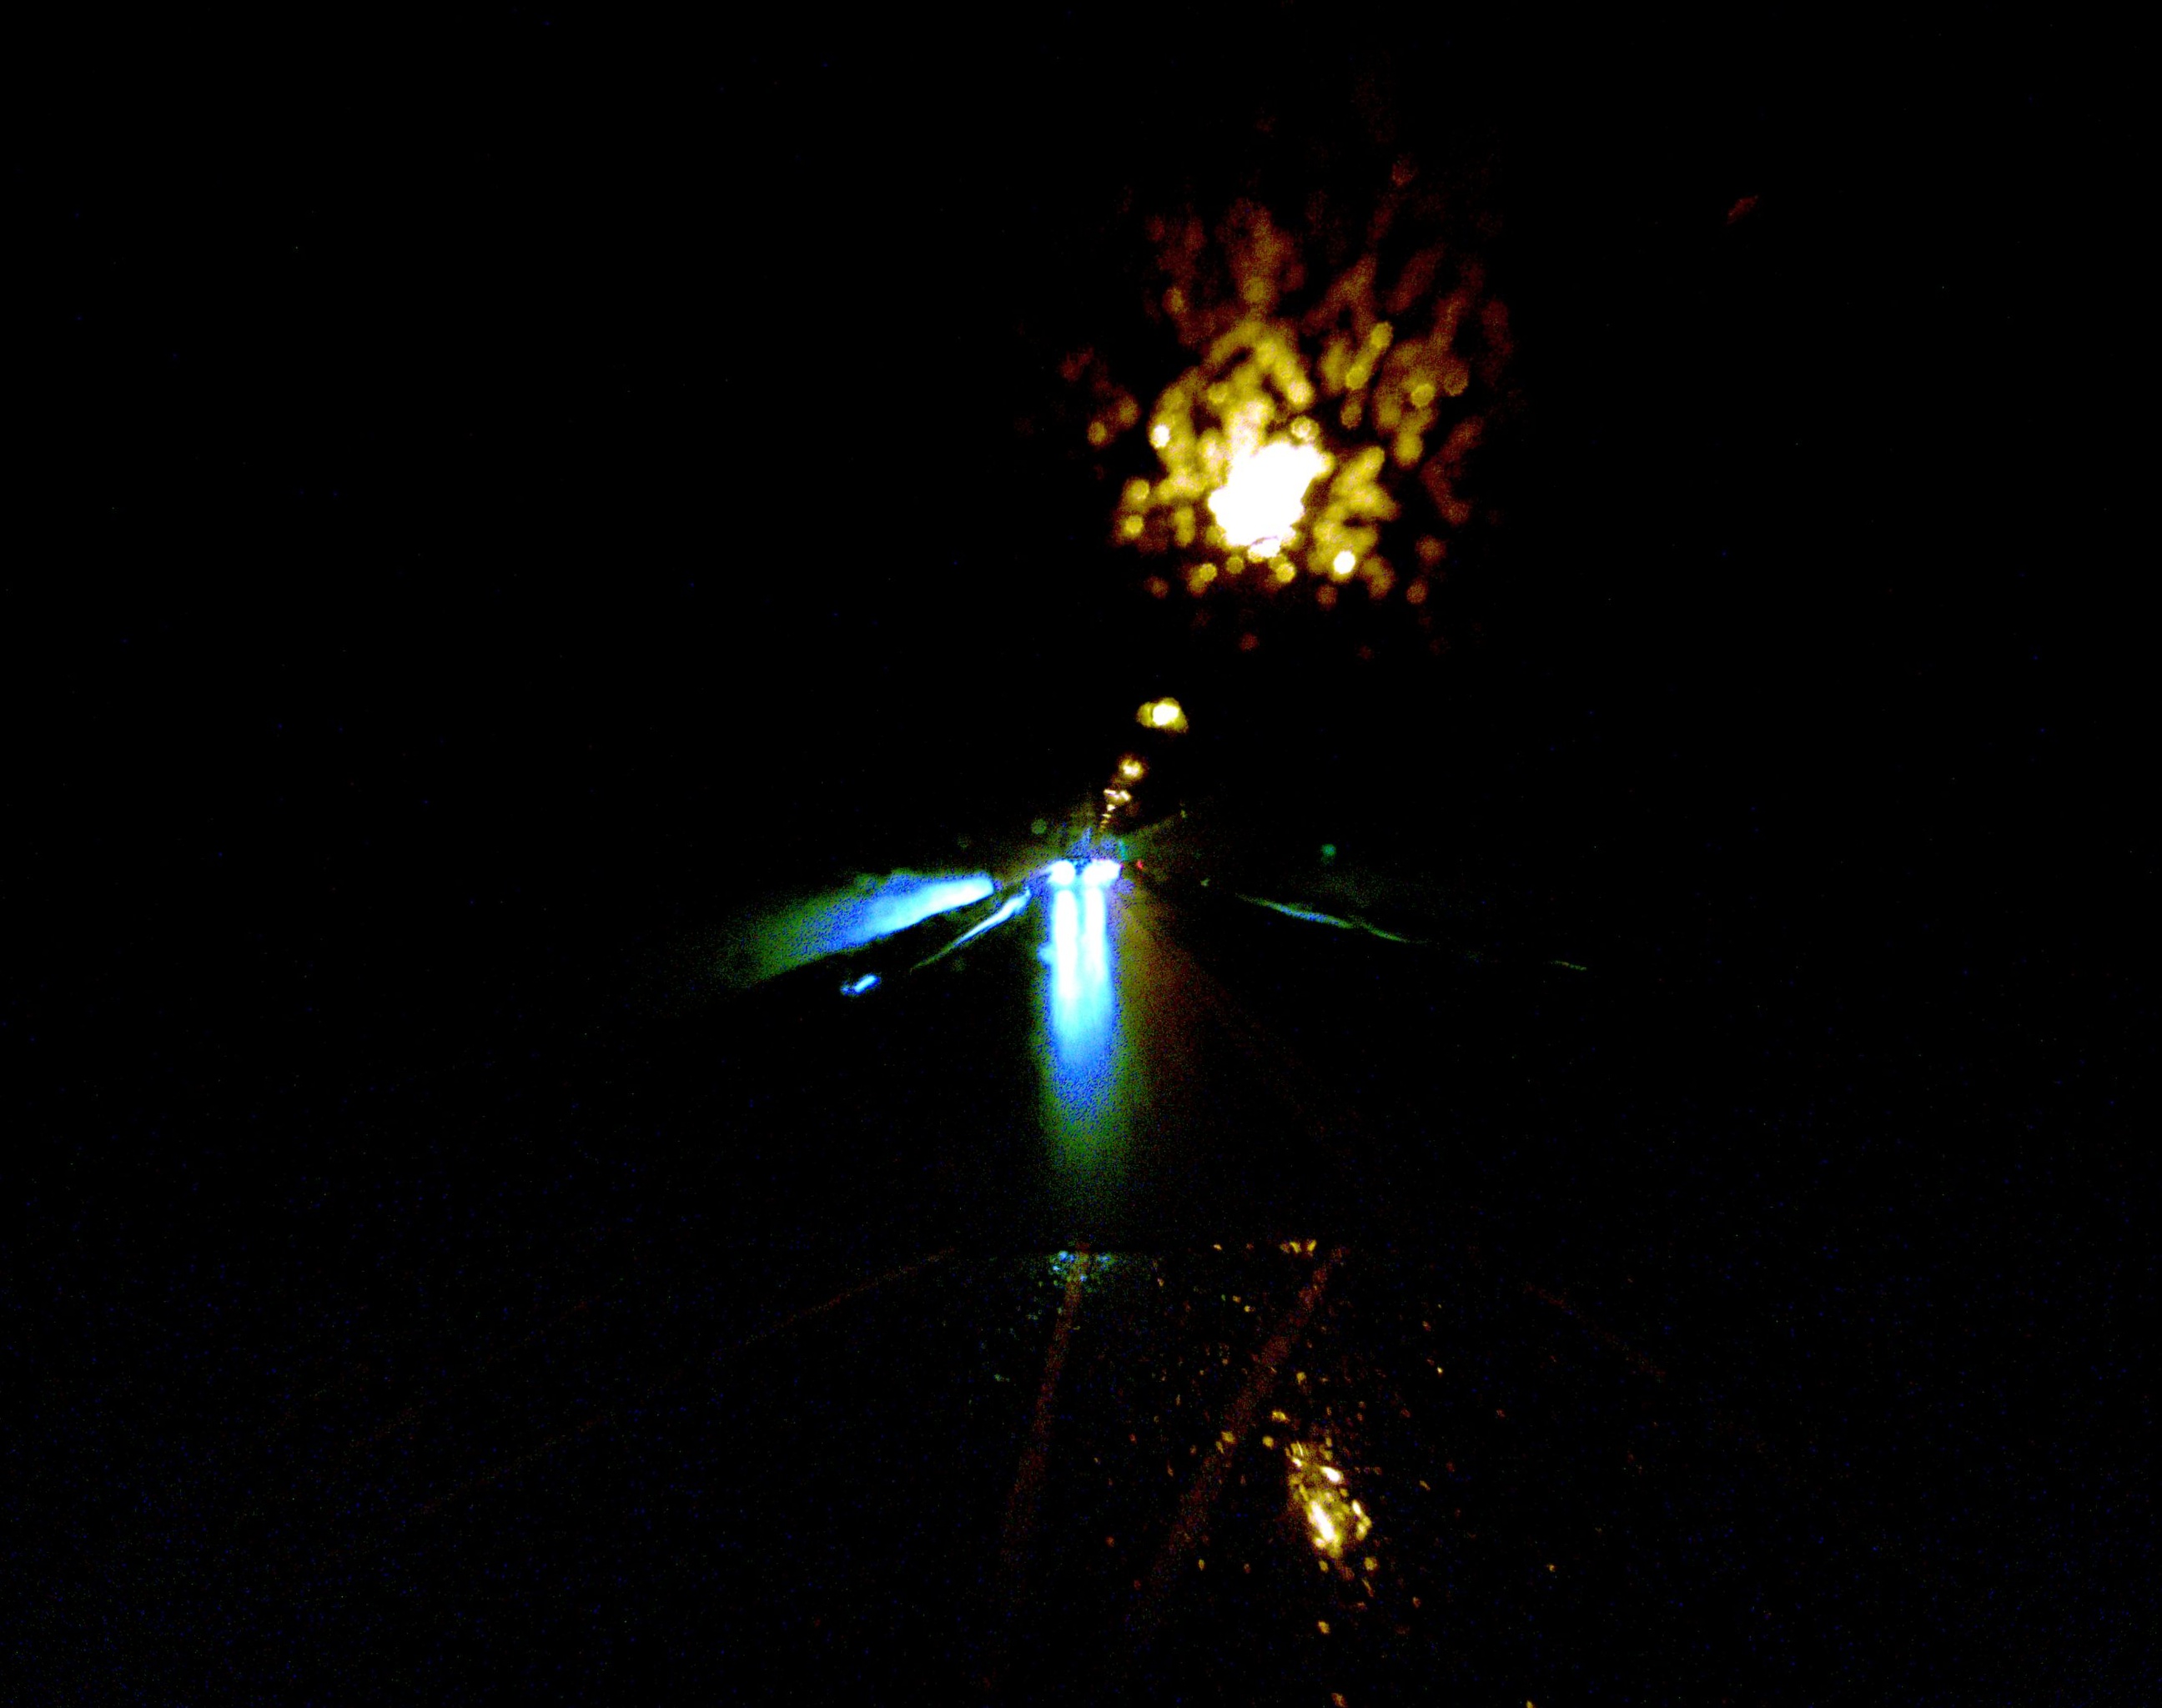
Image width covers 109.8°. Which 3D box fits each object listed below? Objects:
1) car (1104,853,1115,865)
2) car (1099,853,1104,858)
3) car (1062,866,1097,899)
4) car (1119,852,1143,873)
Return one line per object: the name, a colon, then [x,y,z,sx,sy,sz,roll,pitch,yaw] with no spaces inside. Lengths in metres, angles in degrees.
car: [4.678,0.787,126.486,1.765,1.888,4.609,-1,0,2]
car: [6.277,0.531,237.374,1.524,1.540,4.055,-1,-1,2]
car: [-0.047,1.387,37.923,1.627,1.487,3.585,-1,0,2]
car: [3.859,0.625,58.839,1.639,1.526,3.646,-1,0,2]
